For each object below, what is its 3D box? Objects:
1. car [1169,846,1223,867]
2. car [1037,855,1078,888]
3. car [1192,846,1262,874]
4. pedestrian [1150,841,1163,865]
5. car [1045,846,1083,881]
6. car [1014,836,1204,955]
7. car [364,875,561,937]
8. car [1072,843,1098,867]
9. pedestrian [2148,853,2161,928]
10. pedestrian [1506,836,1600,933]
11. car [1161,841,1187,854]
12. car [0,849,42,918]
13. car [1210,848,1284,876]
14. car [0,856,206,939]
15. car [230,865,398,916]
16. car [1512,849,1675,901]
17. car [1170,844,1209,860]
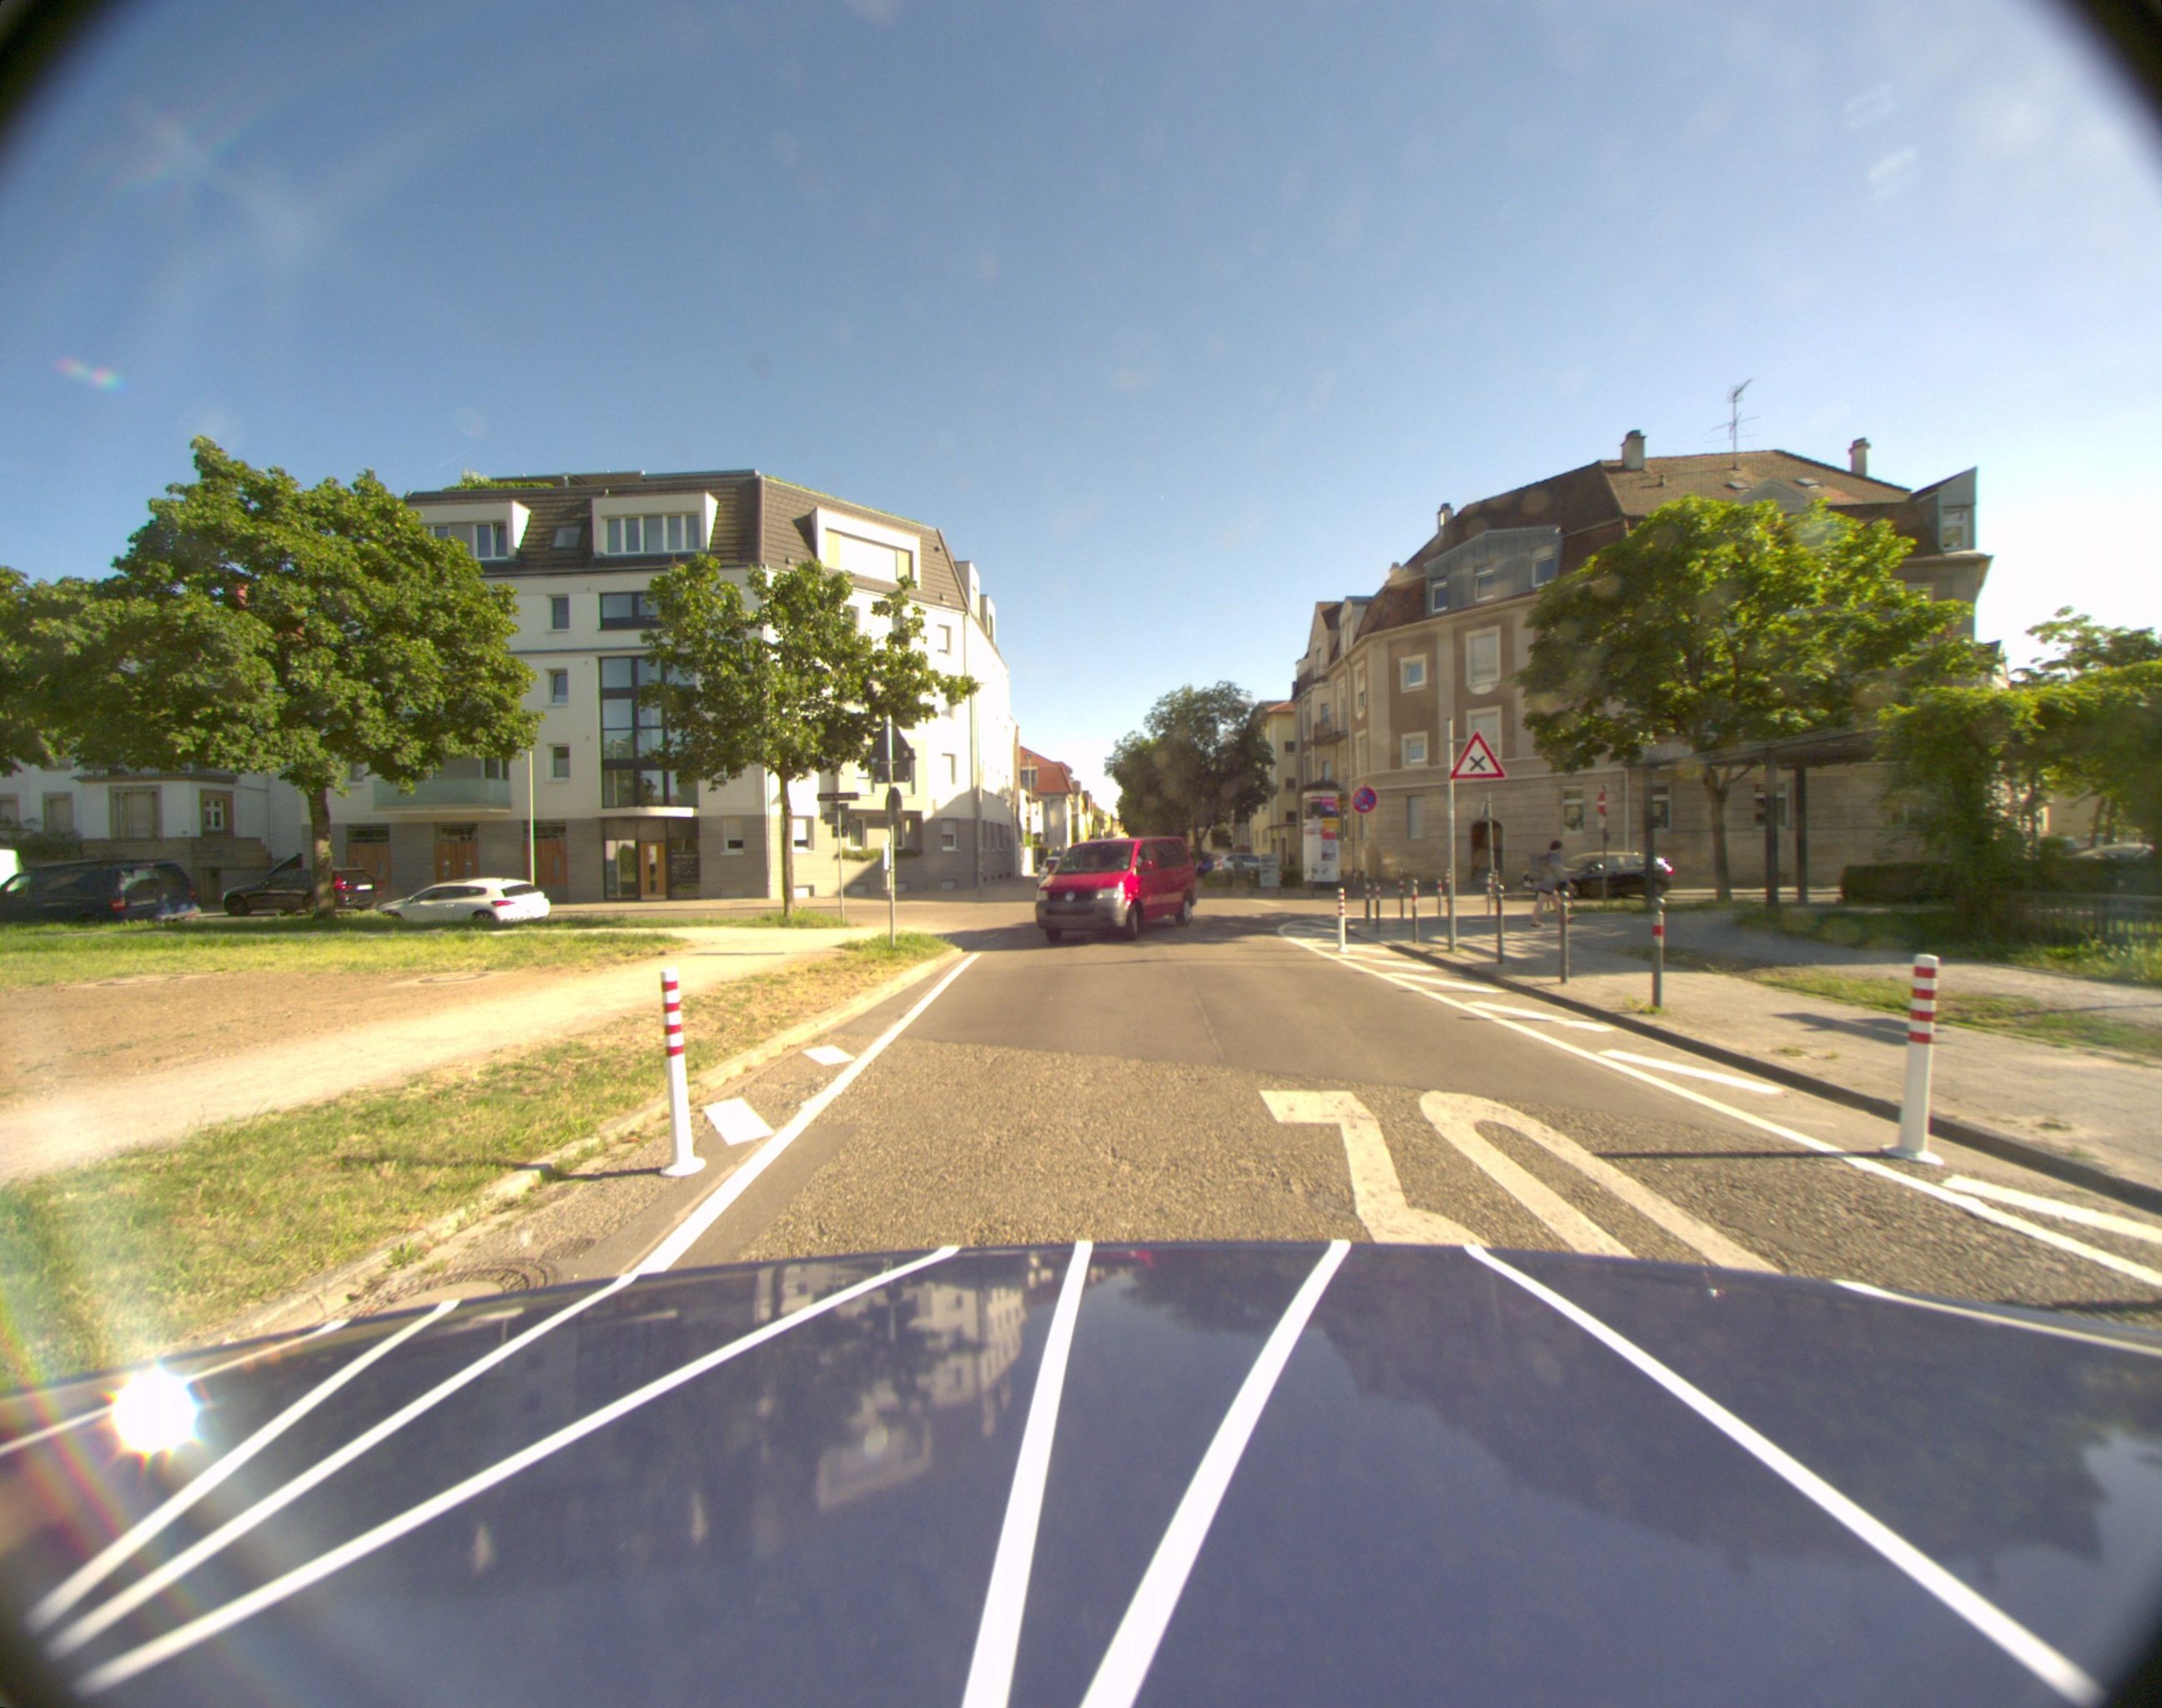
[{"bbox_3d":[8.991,0.158,59.531,3.791,1.486,1.691,-2,1,-10],"label":"car"},{"bbox_3d":[-1.109,0.828,37.518,1.664,1.440,3.688,2,1,4],"label":"car"},{"bbox_3d":[8.656,0.350,45.173,3.788,1.486,1.692,-2,1,1],"label":"car"},{"bbox_3d":[6.469,-0.085,64.855,1.023,2.002,1.071,-1,1,2],"label":"pedestrian"},{"bbox_3d":[-0.878,0.475,41.972,1.664,1.825,4.257,2,1,4],"label":"car"},{"bbox_3d":[0.796,0.655,15.587,1.892,1.950,4.894,1,3,29],"label":"car"},{"bbox_3d":[-16.956,1.400,20.966,3.990,1.426,1.739,-1,5,4],"label":"car"},{"bbox_3d":[0.387,0.048,63.729,1.883,1.860,4.402,2,1,4],"label":"car"},{"bbox_3d":[16.991,0.554,11.477,0.845,1.143,0.599,-1,1,4],"label":"pedestrian"},{"bbox_3d":[8.781,0.545,14.158,1.090,1.665,0.912,-4,2,-14],"label":"pedestrian"},{"bbox_3d":[13.173,-0.899,107.776,3.527,1.693,1.692,-2,1,2],"label":"car"},{"bbox_3d":[-42.125,1.120,28.372,3.990,2.534,2.023,-1,2,5],"label":"car"},{"bbox_3d":[9.336,0.434,42.948,3.788,1.436,1.692,-2,1,1],"label":"car"},{"bbox_3d":[-27.645,1.197,21.379,3.990,2.073,1.783,-1,5,5],"label":"car"},{"bbox_3d":[-27.669,1.300,27.505,4.284,1.673,1.896,-1,2,5],"label":"car"},{"bbox_3d":[16.615,0.653,24.805,4.012,1.476,1.867,-1,4,0],"label":"car"},{"bbox_3d":[10.714,-0.205,75.312,3.528,1.486,1.692,-2,1,-2],"label":"car"}]
